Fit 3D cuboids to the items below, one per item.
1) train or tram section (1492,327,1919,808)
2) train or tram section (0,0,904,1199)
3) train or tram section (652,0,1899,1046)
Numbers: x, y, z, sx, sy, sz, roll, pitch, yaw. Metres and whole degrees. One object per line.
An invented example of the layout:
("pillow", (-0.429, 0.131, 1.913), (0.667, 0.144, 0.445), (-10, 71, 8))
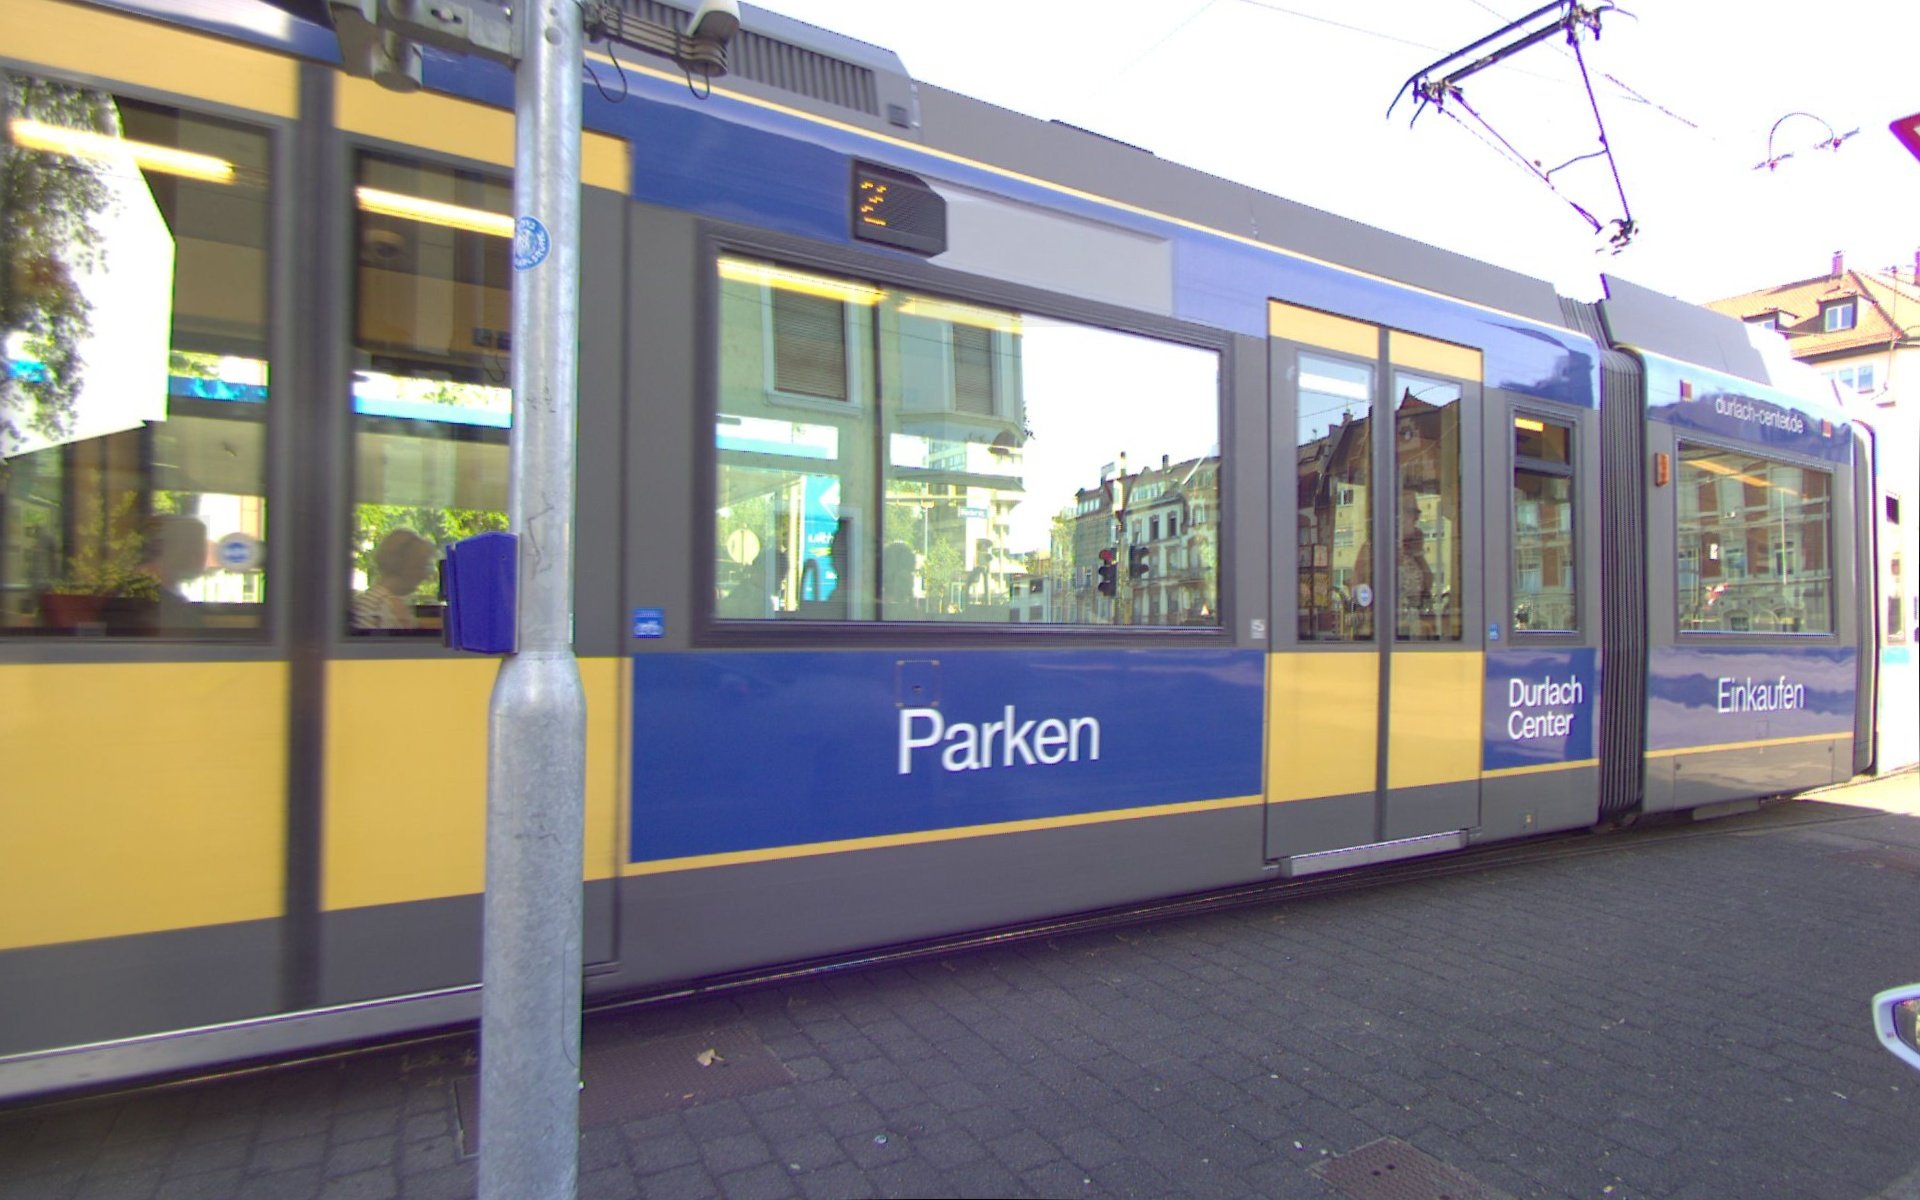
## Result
("train or tram section", (10.614, -0.124, 12.180), (11.922, 3.546, 2.749), (1, -1, -38))
("train or tram section", (-4.266, -0.471, 2.377), (7.869, 3.546, 2.801), (1, -1, -31))
("train or tram section", (2.605, -0.304, 6.476), (8.362, 3.546, 2.801), (1, -1, -30))
